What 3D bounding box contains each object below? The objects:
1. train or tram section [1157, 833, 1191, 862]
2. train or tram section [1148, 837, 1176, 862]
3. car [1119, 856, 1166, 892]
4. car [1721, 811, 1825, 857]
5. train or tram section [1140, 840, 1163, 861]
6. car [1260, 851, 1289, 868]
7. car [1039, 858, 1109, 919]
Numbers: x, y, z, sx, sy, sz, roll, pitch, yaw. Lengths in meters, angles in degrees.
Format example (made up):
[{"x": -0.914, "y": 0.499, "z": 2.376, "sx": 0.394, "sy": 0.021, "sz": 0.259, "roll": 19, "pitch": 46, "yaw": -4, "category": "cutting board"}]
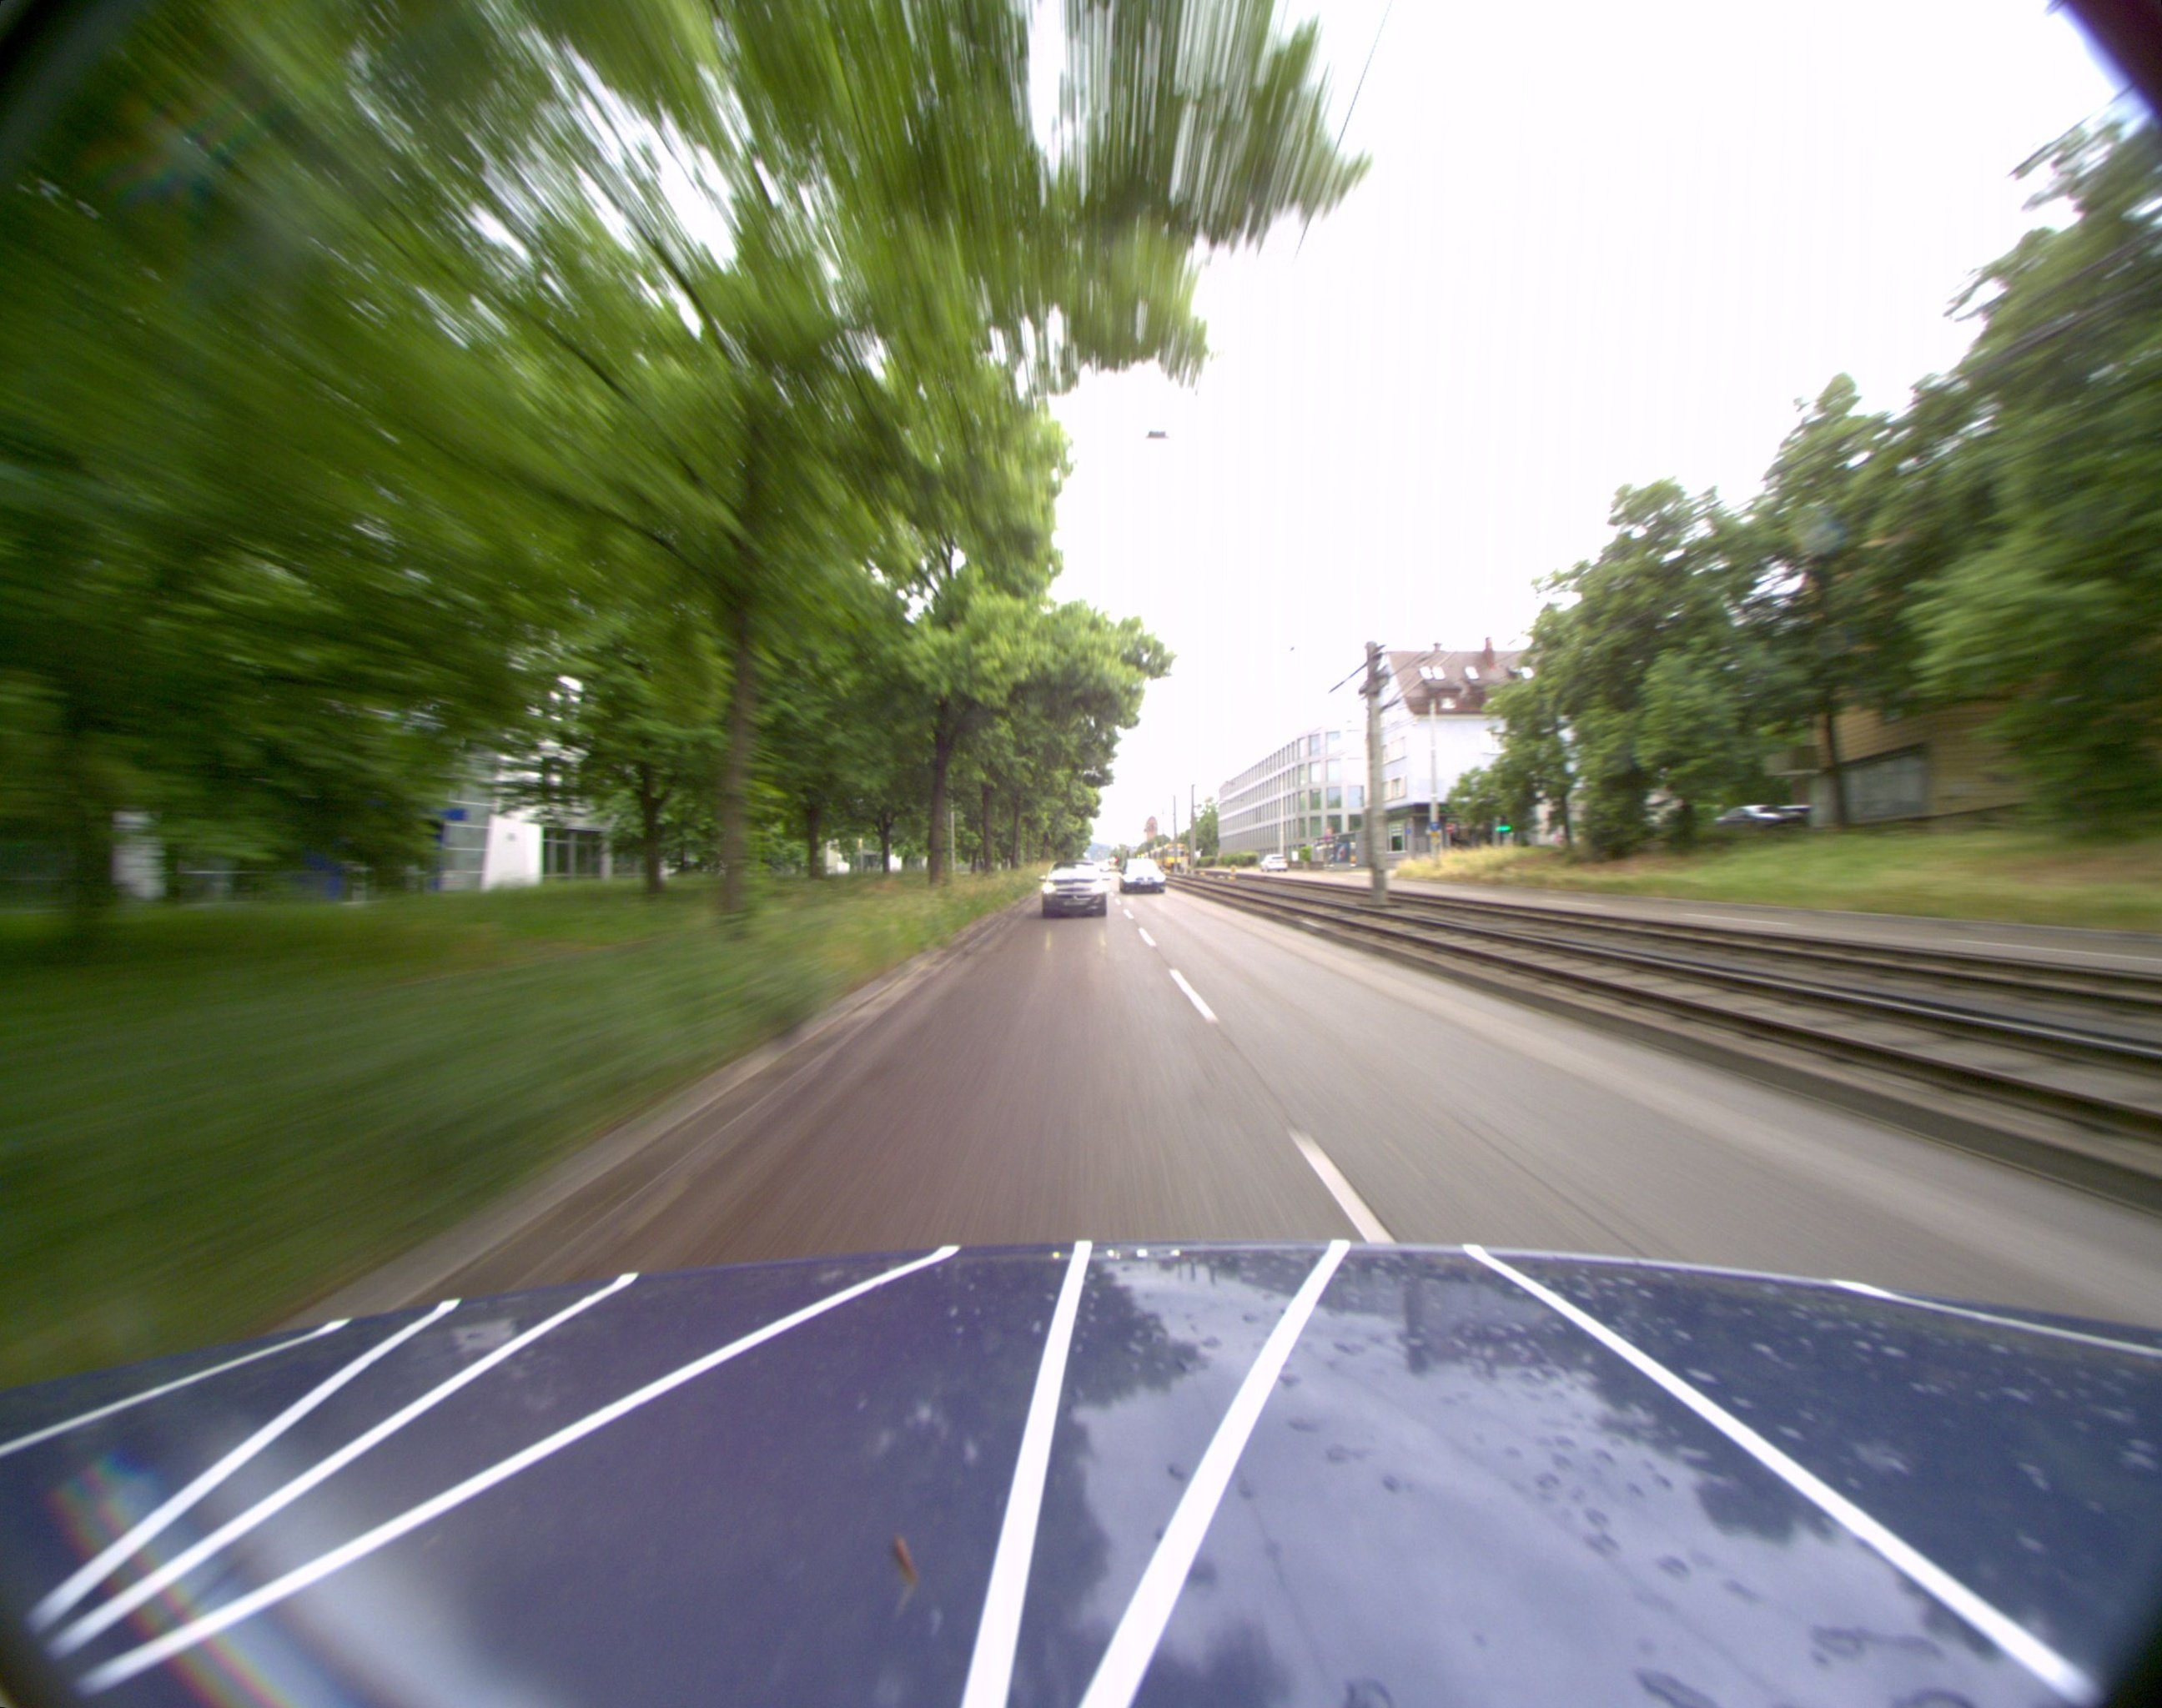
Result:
[{"x": 13.530, "y": -0.829, "z": 112.321, "sx": 2.975, "sy": 3.788, "sz": 19.522, "roll": -1, "pitch": 0, "yaw": 1, "category": "train or tram section"}, {"x": 13.783, "y": -0.641, "z": 130.598, "sx": 2.975, "sy": 3.788, "sz": 19.100, "roll": -1, "pitch": 0, "yaw": 1, "category": "train or tram section"}, {"x": 2.663, "y": 0.851, "z": 33.399, "sx": 1.770, "sy": 1.439, "sz": 3.833, "roll": -1, "pitch": 0, "yaw": 1, "category": "car"}, {"x": 32.129, "y": -0.885, "z": 35.443, "sx": 1.963, "sy": 2.002, "sz": 4.222, "roll": -1, "pitch": 0, "yaw": 17, "category": "car"}, {"x": 13.883, "y": -0.509, "z": 150.564, "sx": 2.975, "sy": 3.788, "sz": 18.615, "roll": -1, "pitch": 0, "yaw": 1, "category": "train or tram section"}, {"x": 17.978, "y": 0.469, "z": 70.831, "sx": 1.657, "sy": 1.520, "sz": 4.380, "roll": -1, "pitch": 0, "yaw": 1, "category": "car"}, {"x": -0.117, "y": 0.896, "z": 21.462, "sx": 1.698, "sy": 1.439, "sz": 4.420, "roll": -3, "pitch": 0, "yaw": 2, "category": "car"}]
